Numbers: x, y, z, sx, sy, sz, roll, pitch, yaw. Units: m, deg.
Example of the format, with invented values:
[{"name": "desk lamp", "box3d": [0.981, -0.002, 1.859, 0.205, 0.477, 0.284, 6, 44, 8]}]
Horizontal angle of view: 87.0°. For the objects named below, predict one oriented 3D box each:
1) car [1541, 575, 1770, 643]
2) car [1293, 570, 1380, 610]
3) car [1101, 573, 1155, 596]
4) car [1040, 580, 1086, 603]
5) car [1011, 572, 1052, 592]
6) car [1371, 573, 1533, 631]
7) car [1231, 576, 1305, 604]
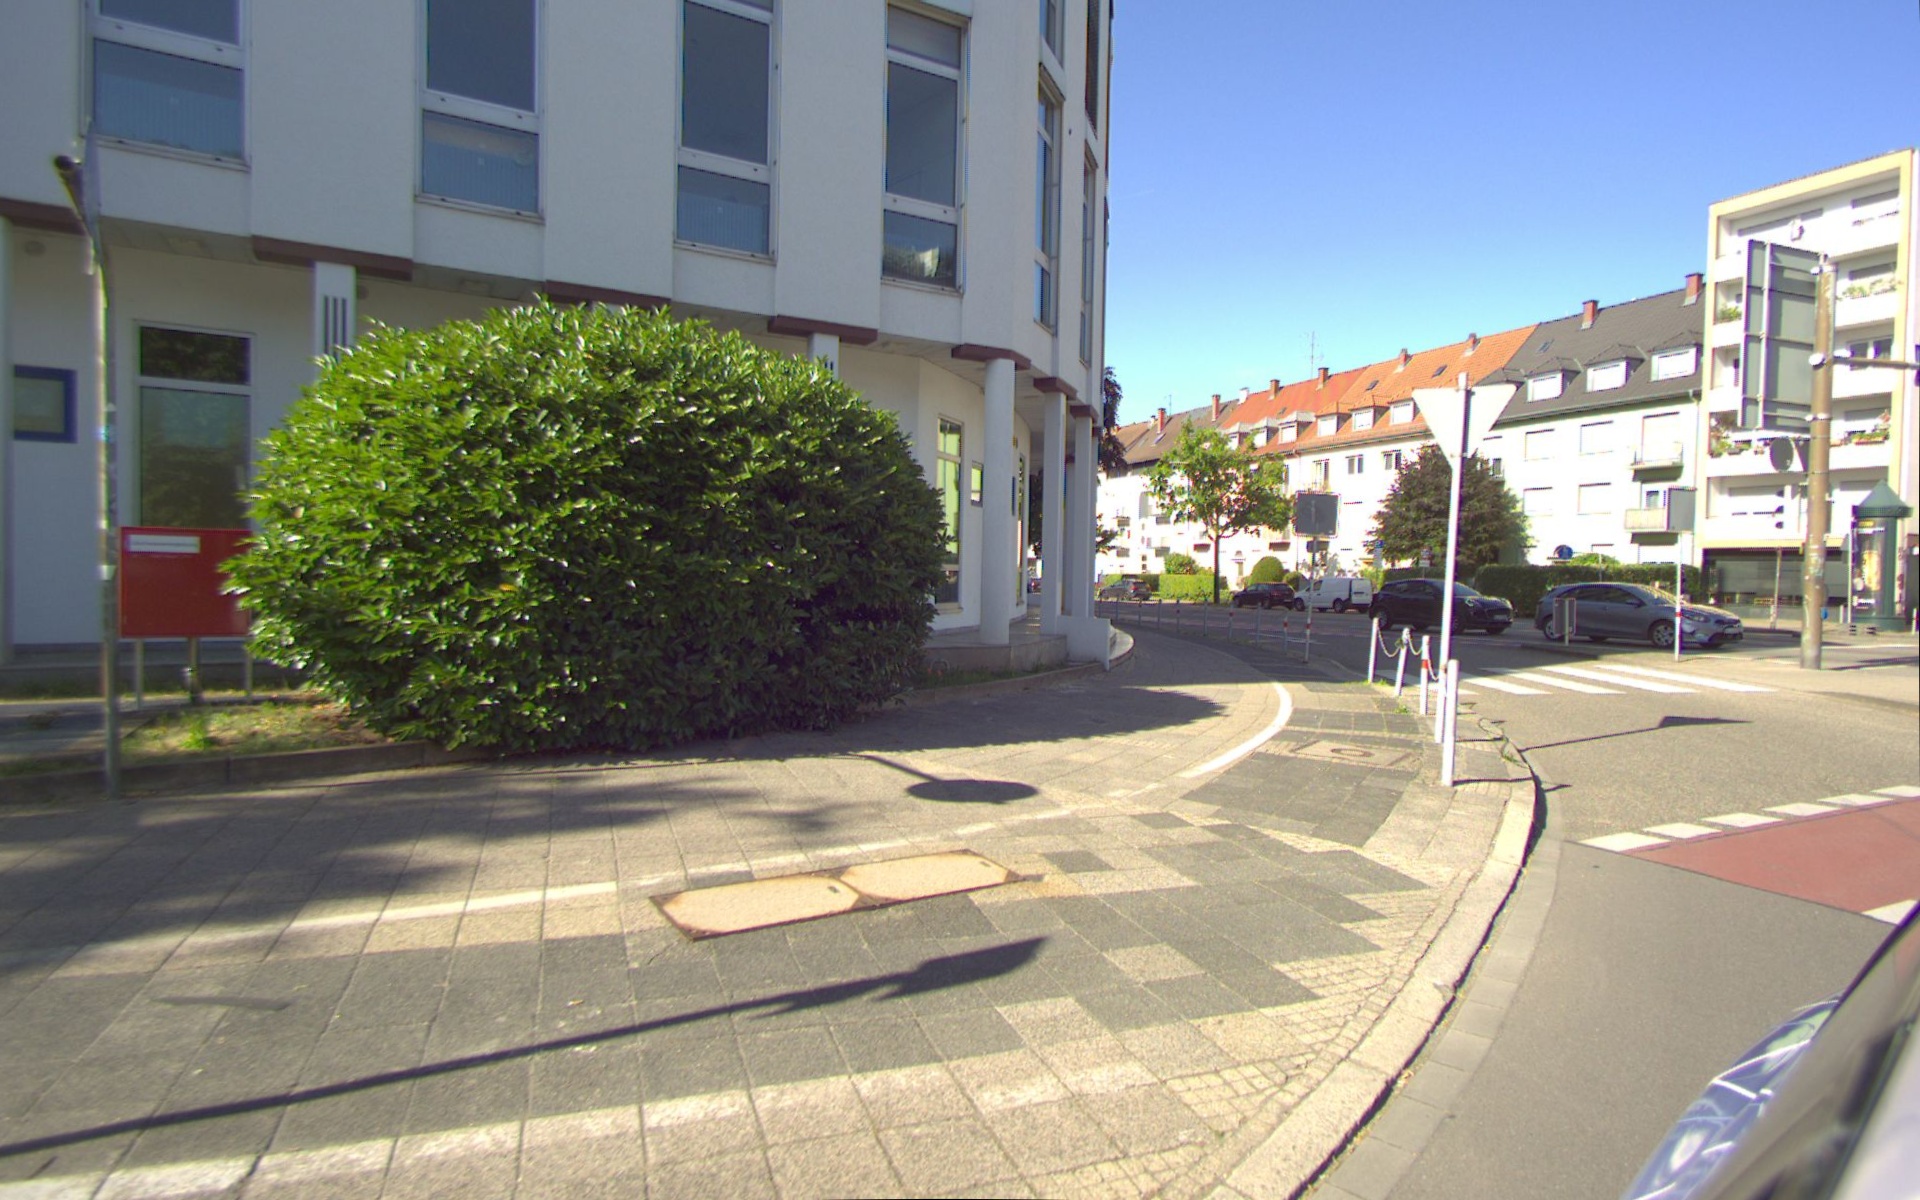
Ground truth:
[{"name": "car", "box3d": [16.039, 0.135, 23.598, 1.845, 1.425, 4.066, 0, 1, -22]}, {"name": "car", "box3d": [19.021, -0.555, 51.348, 1.768, 1.880, 4.176, -3, 2, -22]}, {"name": "car", "box3d": [11.503, -1.082, 69.488, 1.768, 1.475, 4.013, -3, 2, -22]}, {"name": "car", "box3d": [7.905, -0.688, 78.114, 1.768, 1.580, 4.176, -3, 2, -22]}, {"name": "car", "box3d": [5.920, -1.518, 84.168, 1.768, 1.580, 4.176, -3, 2, -22]}, {"name": "car", "box3d": [13.887, -0.002, 28.823, 1.661, 1.510, 4.084, 0, 1, -22]}, {"name": "car", "box3d": [17.010, -0.570, 56.083, 1.768, 1.447, 4.059, -3, 2, -22]}]
